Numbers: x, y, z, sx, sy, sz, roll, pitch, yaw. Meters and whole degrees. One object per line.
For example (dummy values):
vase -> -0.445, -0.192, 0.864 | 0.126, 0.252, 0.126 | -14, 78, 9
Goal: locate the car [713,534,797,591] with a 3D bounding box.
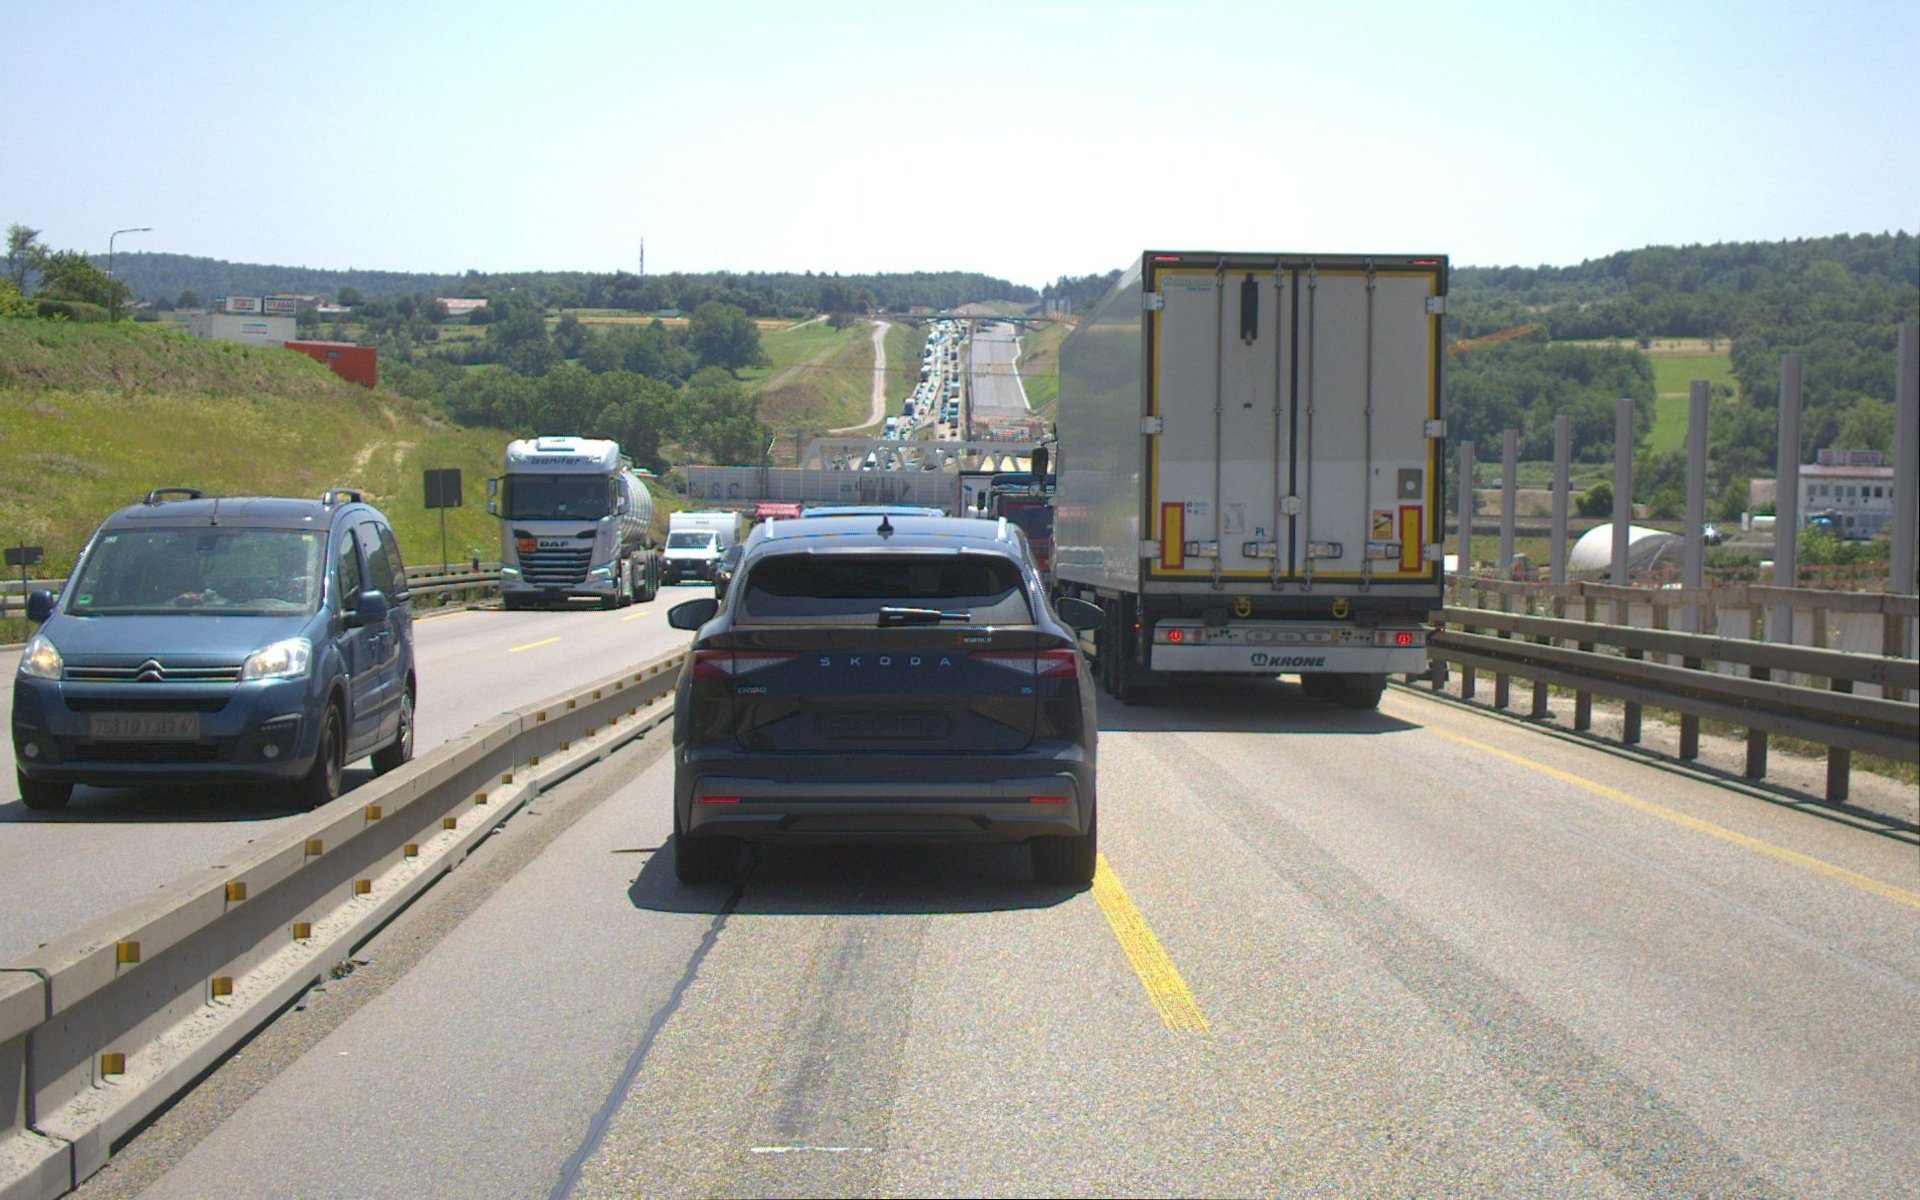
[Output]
car -> -5.235, -0.984, 88.327 | 1.895, 1.409, 4.679 | 0, 1, 0

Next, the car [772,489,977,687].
car -> -0.876, -0.111, 36.063 | 1.993, 1.919, 4.508 | 1, 0, -1

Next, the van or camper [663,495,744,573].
van or camper -> -8.983, -2.323, 120.939 | 2.357, 2.667, 7.858 | 0, 1, -1

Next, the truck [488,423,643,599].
truck -> -8.591, -1.931, 75.558 | 2.779, 3.660, 6.278 | 1, 1, -1

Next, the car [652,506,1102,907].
car -> -0.337, 0.414, 15.892 | 1.802, 1.602, 4.000 | 1, 0, 0

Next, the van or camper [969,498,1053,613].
van or camper -> 1.535, -1.269, 101.918 | 2.389, 3.269, 6.468 | 0, 0, 1

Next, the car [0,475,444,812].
car -> -4.326, 0.186, 20.533 | 1.846, 1.771, 4.882 | 0, 1, -1

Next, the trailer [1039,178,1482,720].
trailer -> 2.665, -1.415, 35.375 | 3.180, 4.497, 13.109 | 1, 1, -1

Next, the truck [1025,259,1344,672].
truck -> 2.543, -1.573, 41.846 | 3.180, 4.497, 8.166 | 1, 1, -1

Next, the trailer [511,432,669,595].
trailer -> -8.688, -2.035, 82.000 | 2.716, 3.581, 11.796 | 1, 1, -1

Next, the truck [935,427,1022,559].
truck -> 0.625, -3.850, 127.593 | 2.852, 4.450, 11.918 | 1, 0, -1

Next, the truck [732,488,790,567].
truck -> -11.225, -4.045, 194.744 | 2.852, 4.125, 11.918 | 1, 0, -1

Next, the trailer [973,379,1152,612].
trailer -> 2.018, -2.017, 74.299 | 3.180, 4.498, 14.967 | 1, 0, -1

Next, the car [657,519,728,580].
car -> -8.867, -1.680, 114.352 | 1.993, 1.964, 5.343 | 0, 1, -1

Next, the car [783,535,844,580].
car -> -4.945, -1.469, 116.571 | 1.912, 1.475, 4.637 | 0, 1, -1

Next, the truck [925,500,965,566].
truck -> -1.035, -4.467, 231.452 | 2.639, 4.179, 9.284 | 1, 0, -1

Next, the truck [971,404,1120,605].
truck -> 1.933, -2.140, 81.462 | 3.180, 4.498, 8.165 | 1, 0, -1
